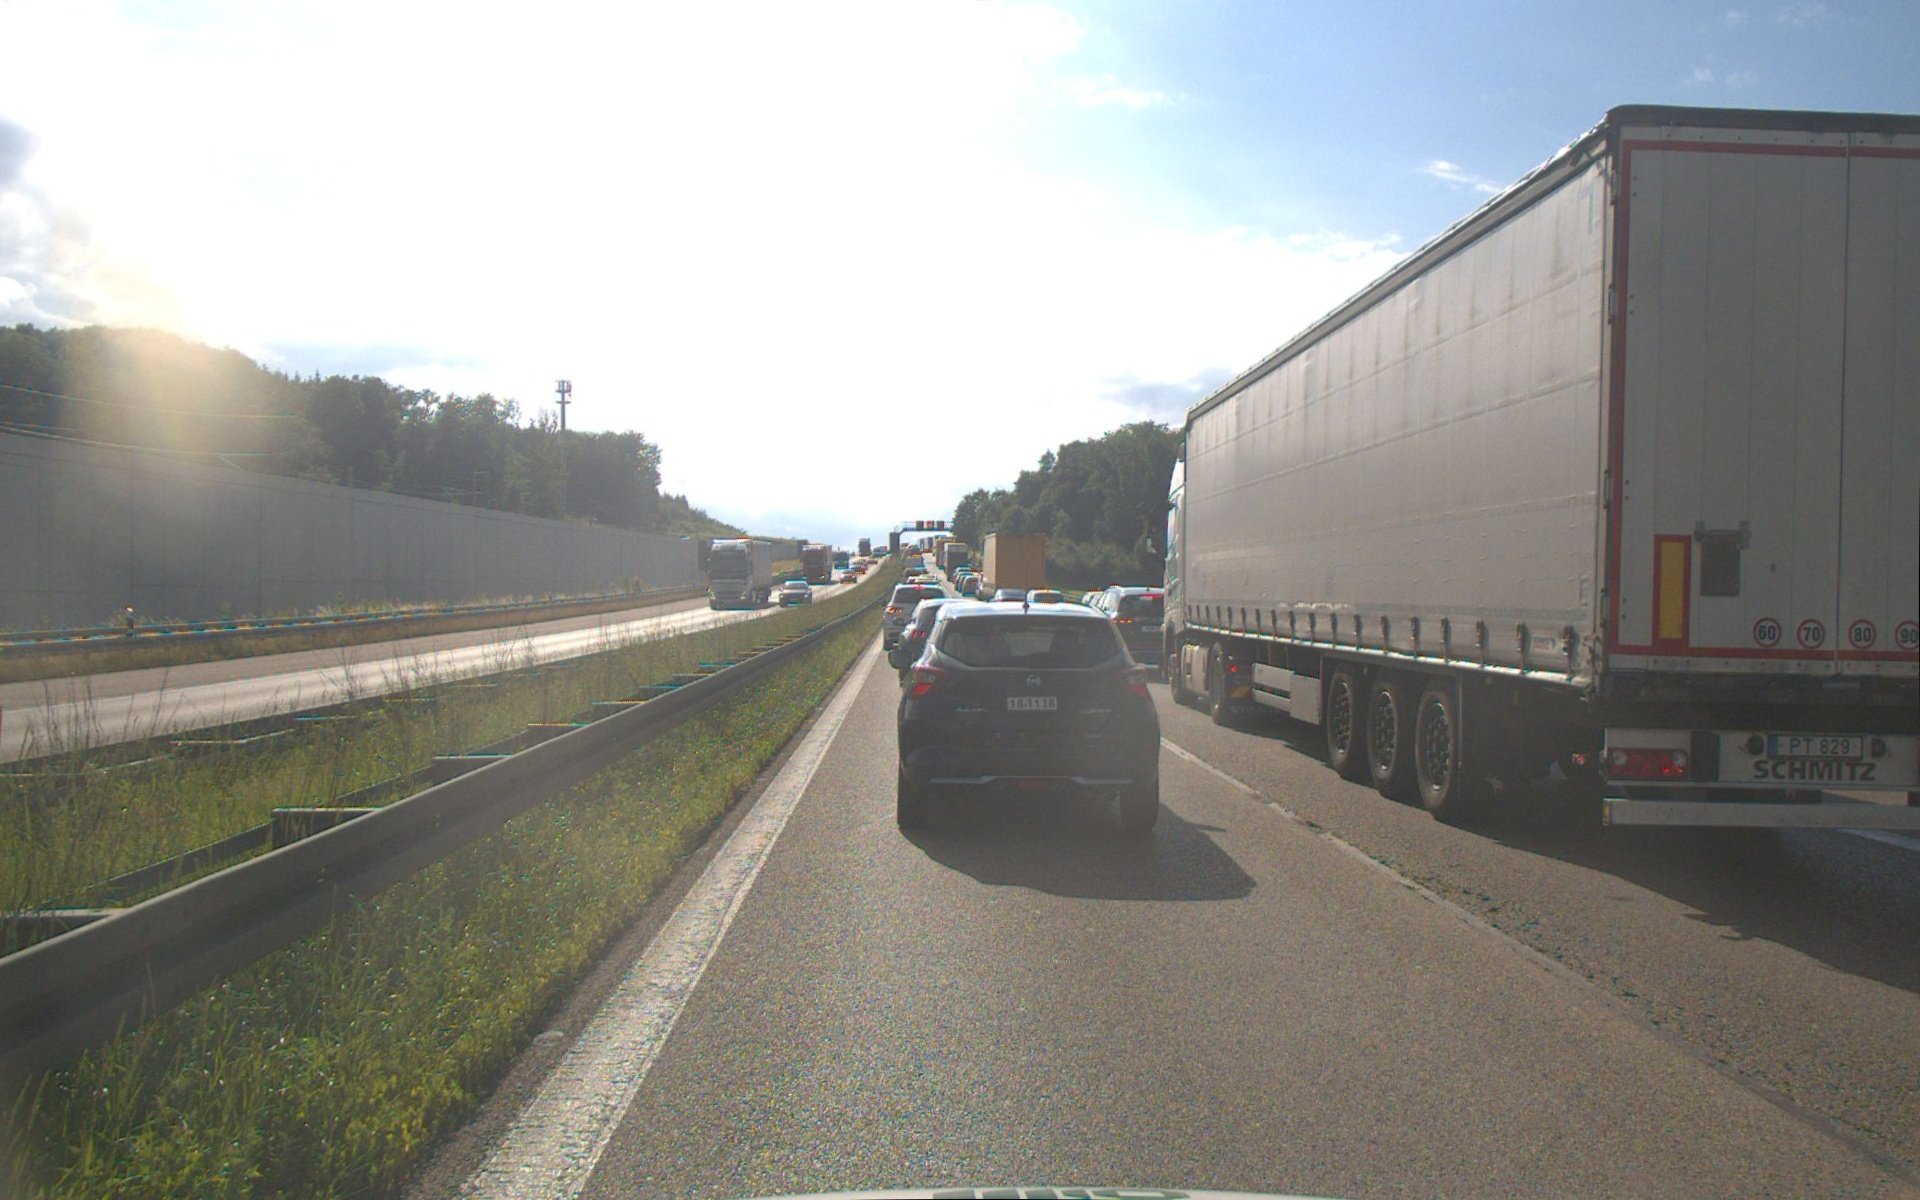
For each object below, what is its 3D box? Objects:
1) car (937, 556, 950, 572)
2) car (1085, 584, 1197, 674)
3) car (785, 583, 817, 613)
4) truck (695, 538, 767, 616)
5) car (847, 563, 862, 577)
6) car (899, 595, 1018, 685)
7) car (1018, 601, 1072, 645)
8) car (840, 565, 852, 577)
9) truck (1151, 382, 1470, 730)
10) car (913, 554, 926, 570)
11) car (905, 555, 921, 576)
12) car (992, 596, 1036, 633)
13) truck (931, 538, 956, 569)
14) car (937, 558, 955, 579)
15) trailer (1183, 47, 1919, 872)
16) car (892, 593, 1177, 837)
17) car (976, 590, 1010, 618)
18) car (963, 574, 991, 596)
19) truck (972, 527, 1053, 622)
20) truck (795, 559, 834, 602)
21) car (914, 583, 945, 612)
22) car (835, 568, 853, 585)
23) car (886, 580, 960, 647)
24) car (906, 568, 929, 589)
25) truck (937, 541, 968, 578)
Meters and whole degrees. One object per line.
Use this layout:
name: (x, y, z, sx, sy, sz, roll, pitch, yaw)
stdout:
car: (-2.457, -5.295, 242.800, 1.835, 2.196, 5.210, 0, 3, -2)
car: (3.470, 0.527, 32.379, 1.663, 1.639, 4.436, 0, 0, 0)
car: (-9.762, -0.111, 101.825, 1.709, 1.735, 4.229, 1, -1, -3)
truck: (-14.457, -1.449, 105.255, 3.230, 4.657, 12.436, 0, 0, -2)
car: (-14.003, -3.967, 219.254, 1.708, 1.735, 4.232, 1, 2, -1)
car: (-0.078, 0.620, 27.669, 1.835, 1.381, 4.231, 0, 0, -1)
car: (3.340, 0.887, 65.479, 1.835, 1.673, 4.231, 0, 0, -1)
car: (-17.354, -4.377, 251.261, 1.709, 1.735, 4.231, 1, 2, -2)
truck: (4.459, -0.483, 22.175, 3.070, 4.086, 5.162, 1, -1, -1)
car: (-5.909, -5.510, 239.802, 1.835, 2.196, 5.210, 0, 3, -2)
car: (-5.240, -3.823, 184.606, 1.835, 2.196, 5.210, 0, 3, -2)
car: (2.471, 0.648, 76.695, 1.835, 1.673, 4.231, 0, 0, -1)
truck: (-2.597, -7.271, 259.167, 3.395, 4.657, 12.435, 1, 1, -3)
car: (-1.595, -3.626, 187.684, 1.835, 2.196, 5.210, 0, 3, -2)
trailer: (4.584, -0.575, 14.925, 3.067, 4.081, 13.362, 1, -1, -1)
car: (0.404, 0.705, 12.195, 1.737, 1.476, 4.231, 0, 0, -1)
car: (1.971, 0.207, 99.777, 1.836, 1.673, 4.230, 0, 0, -2)
car: (1.354, -1.205, 130.779, 1.837, 1.673, 4.228, 0, 1, -5)
truck: (2.667, -1.210, 88.448, 3.231, 4.657, 12.432, 1, -1, -3)
truck: (-16.077, -2.167, 183.227, 3.229, 4.634, 12.441, 0, 0, 0)
car: (-1.874, -0.195, 100.950, 1.835, 1.673, 4.231, 0, 1, -1)
car: (-12.518, -2.561, 179.022, 1.708, 1.735, 4.231, 1, 1, -1)
car: (-0.969, 0.346, 43.236, 1.835, 1.673, 4.231, 0, 0, -1)
car: (-3.590, -1.835, 140.032, 1.836, 1.673, 4.230, 0, 1, -3)
truck: (-1.031, -5.200, 213.287, 3.395, 4.657, 12.435, 1, 1, -3)
